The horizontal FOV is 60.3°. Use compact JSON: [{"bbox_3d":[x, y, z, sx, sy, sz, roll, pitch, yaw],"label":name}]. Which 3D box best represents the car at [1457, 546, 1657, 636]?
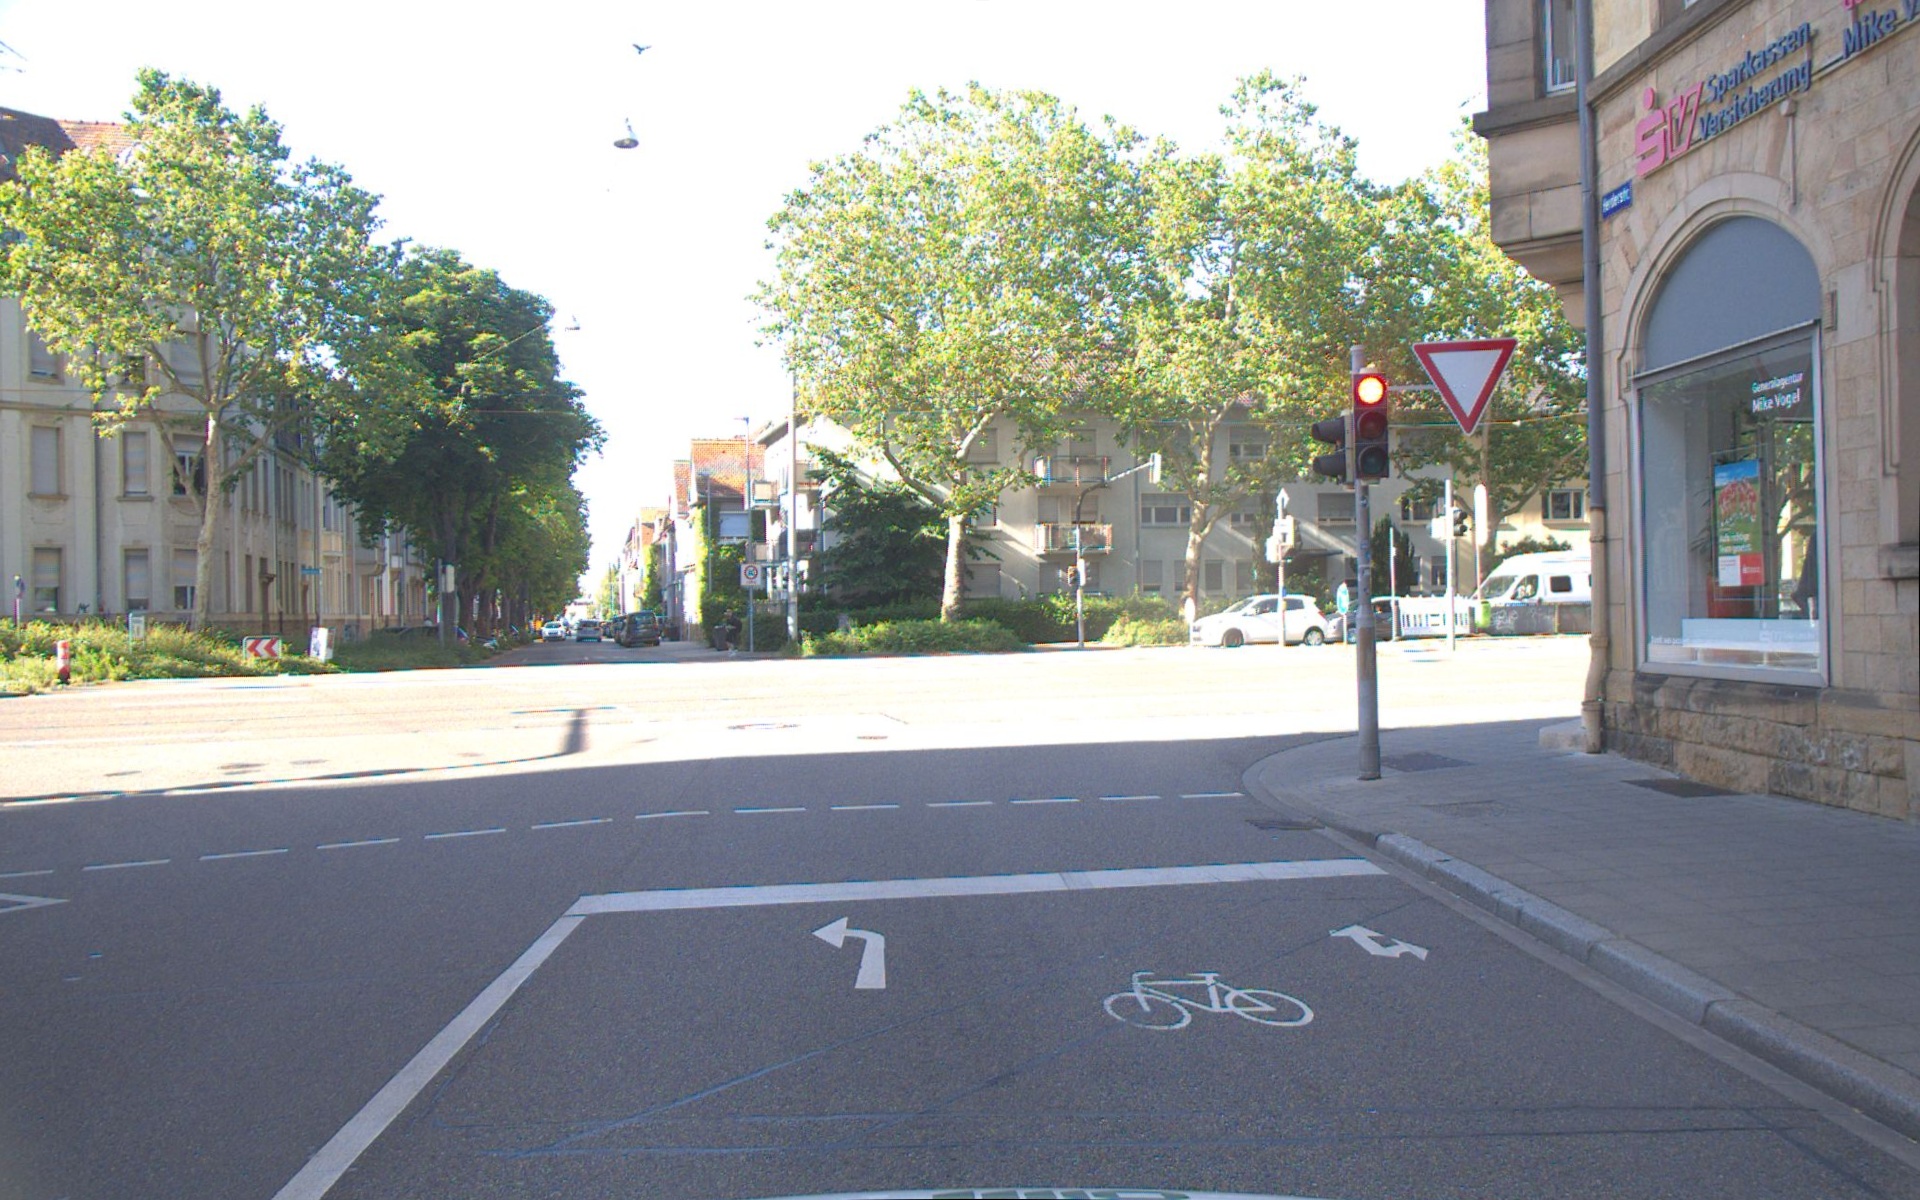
[{"bbox_3d":[18.785,-0.306,52.018,5.949,2.613,1.989,-2,0,-19],"label":"car"}]

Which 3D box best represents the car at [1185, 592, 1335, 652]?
[{"bbox_3d":[8.269,0.602,45.692,3.720,1.498,1.625,-2,0,-11],"label":"car"}]

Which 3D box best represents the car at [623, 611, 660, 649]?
[{"bbox_3d":[-18.157,1.677,94.307,1.957,2.049,3.990,-2,0,-10],"label":"car"}]

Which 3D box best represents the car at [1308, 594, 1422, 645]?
[{"bbox_3d":[13.101,0.610,53.483,3.333,1.513,1.514,-2,0,-23],"label":"car"}]

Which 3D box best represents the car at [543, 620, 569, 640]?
[{"bbox_3d":[-32.426,2.418,132.780,1.960,1.471,3.984,-2,0,-15],"label":"car"}]

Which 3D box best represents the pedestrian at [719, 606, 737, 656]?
[{"bbox_3d":[-8.413,1.130,60.006,0.621,1.780,0.658,0,-1,-5],"label":"pedestrian"}]

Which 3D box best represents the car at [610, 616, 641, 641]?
[{"bbox_3d":[-25.264,2.128,124.955,1.961,1.865,3.982,0,-1,-16],"label":"car"}]

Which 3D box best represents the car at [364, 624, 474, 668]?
[{"bbox_3d":[-20.713,1.745,63.386,3.928,1.512,1.672,-2,0,-20],"label":"car"}]

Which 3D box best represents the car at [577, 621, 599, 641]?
[{"bbox_3d":[-28.948,2.392,128.714,1.644,1.509,3.511,0,-1,-12],"label":"car"}]
